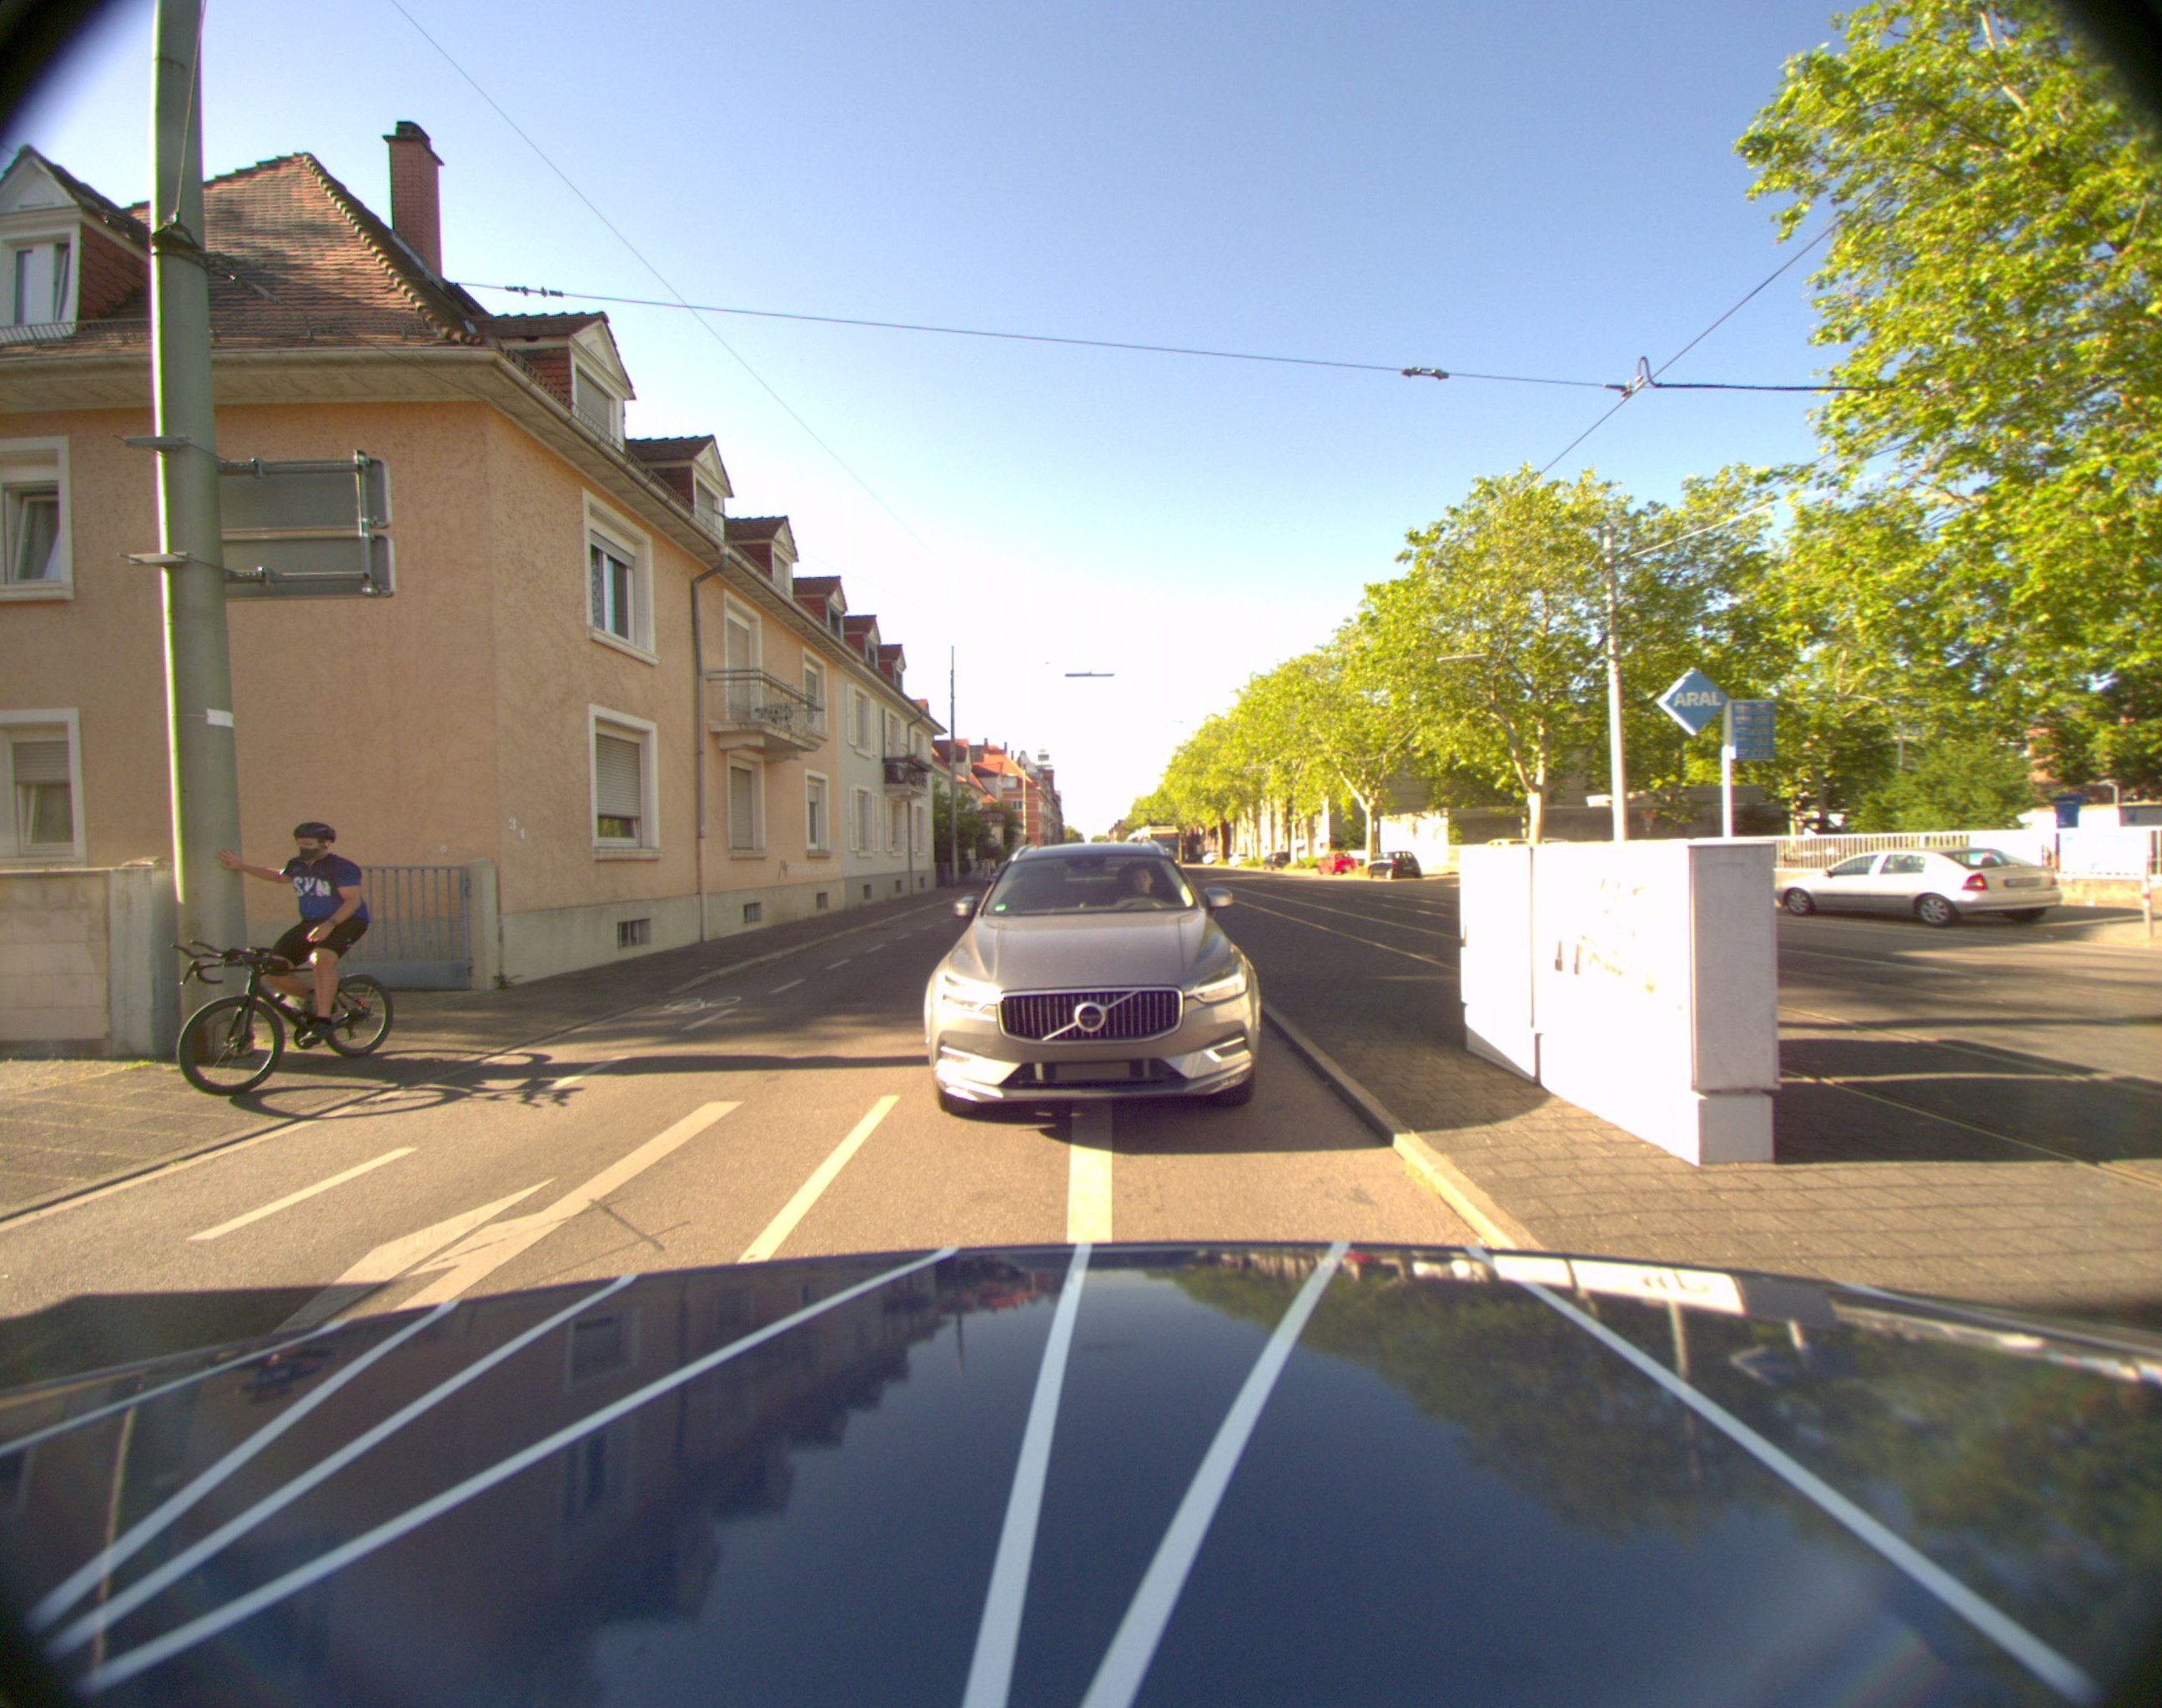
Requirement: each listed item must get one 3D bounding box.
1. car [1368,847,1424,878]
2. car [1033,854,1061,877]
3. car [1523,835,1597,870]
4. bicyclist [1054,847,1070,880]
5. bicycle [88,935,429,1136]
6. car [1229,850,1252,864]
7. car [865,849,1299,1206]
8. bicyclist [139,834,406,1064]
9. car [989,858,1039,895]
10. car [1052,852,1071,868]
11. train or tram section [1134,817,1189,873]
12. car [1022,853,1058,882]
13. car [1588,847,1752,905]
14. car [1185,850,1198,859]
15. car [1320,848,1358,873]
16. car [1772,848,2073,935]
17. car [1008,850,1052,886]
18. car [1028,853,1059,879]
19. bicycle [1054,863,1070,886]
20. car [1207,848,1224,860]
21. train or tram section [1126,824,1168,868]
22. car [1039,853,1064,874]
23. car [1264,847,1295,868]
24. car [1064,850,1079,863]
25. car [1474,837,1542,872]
[{"bbox_3d":[16.895,0.420,40.909,1.599,1.498,3.304,-3,0,1],"label":"car"},{"bbox_3d":[-2.707,0.874,61.046,1.793,1.673,3.814,-3,0,2],"label":"car"},{"bbox_3d":[23.889,-0.086,38.038,1.599,1.583,3.304,-2,0,1],"label":"car"},{"bbox_3d":[-0.962,0.487,38.576,0.685,1.611,0.855,-2,1,1],"label":"bicyclist"},{"bbox_3d":[-6.034,1.258,5.756,0.592,1.062,1.775,4,0,1],"label":"bicycle"},{"bbox_3d":[17.479,0.282,83.556,1.695,1.440,3.749,-3,0,1],"label":"car"},{"bbox_3d":[0.036,0.821,5.769,1.998,1.628,4.306,-2,0,1],"label":"car"},{"bbox_3d":[-6.228,0.687,5.924,1.051,1.599,0.885,4,0,1],"label":"bicyclist"},{"bbox_3d":[-3.213,1.074,37.063,1.695,1.571,3.815,-3,0,5],"label":"car"},{"bbox_3d":[-2.135,0.620,85.385,1.793,1.673,3.814,-3,0,2],"label":"car"},{"bbox_3d":[5.777,-0.610,56.505,2.717,3.643,12.653,-1,0,0],"label":"train or tram section"},{"bbox_3d":[-2.574,0.843,48.501,1.793,1.673,3.814,-3,0,2],"label":"car"},{"bbox_3d":[16.419,0.556,21.430,1.695,1.395,3.749,-3,0,1],"label":"car"},{"bbox_3d":[18.221,0.056,125.536,1.695,1.440,3.749,-3,0,1],"label":"car"},{"bbox_3d":[16.889,0.427,49.880,1.599,1.498,2.622,-3,0,1],"label":"car"},{"bbox_3d":[16.233,0.636,14.995,1.695,1.395,3.813,-3,0,1],"label":"car"},{"bbox_3d":[-2.814,0.731,42.836,1.793,1.828,5.149,-3,0,2],"label":"car"},{"bbox_3d":[-2.620,0.824,54.021,1.793,1.673,3.814,-3,0,2],"label":"car"},{"bbox_3d":[-0.941,1.027,38.642,0.685,1.098,1.806,-2,1,1],"label":"bicycle"},{"bbox_3d":[17.811,0.013,100.727,1.695,1.440,3.749,-3,0,1],"label":"car"},{"bbox_3d":[5.810,-0.684,69.129,2.717,3.643,12.653,-1,0,0],"label":"train or tram section"},{"bbox_3d":[-2.538,0.847,67.091,1.793,1.673,3.814,-3,0,2],"label":"car"},{"bbox_3d":[17.151,0.265,65.902,1.695,1.648,3.749,-3,0,1],"label":"car"},{"bbox_3d":[-1.274,0.348,107.118,1.793,1.673,3.814,-3,0,2],"label":"car"},{"bbox_3d":[21.556,0.009,38.486,1.599,1.606,3.304,-2,0,1],"label":"car"}]
